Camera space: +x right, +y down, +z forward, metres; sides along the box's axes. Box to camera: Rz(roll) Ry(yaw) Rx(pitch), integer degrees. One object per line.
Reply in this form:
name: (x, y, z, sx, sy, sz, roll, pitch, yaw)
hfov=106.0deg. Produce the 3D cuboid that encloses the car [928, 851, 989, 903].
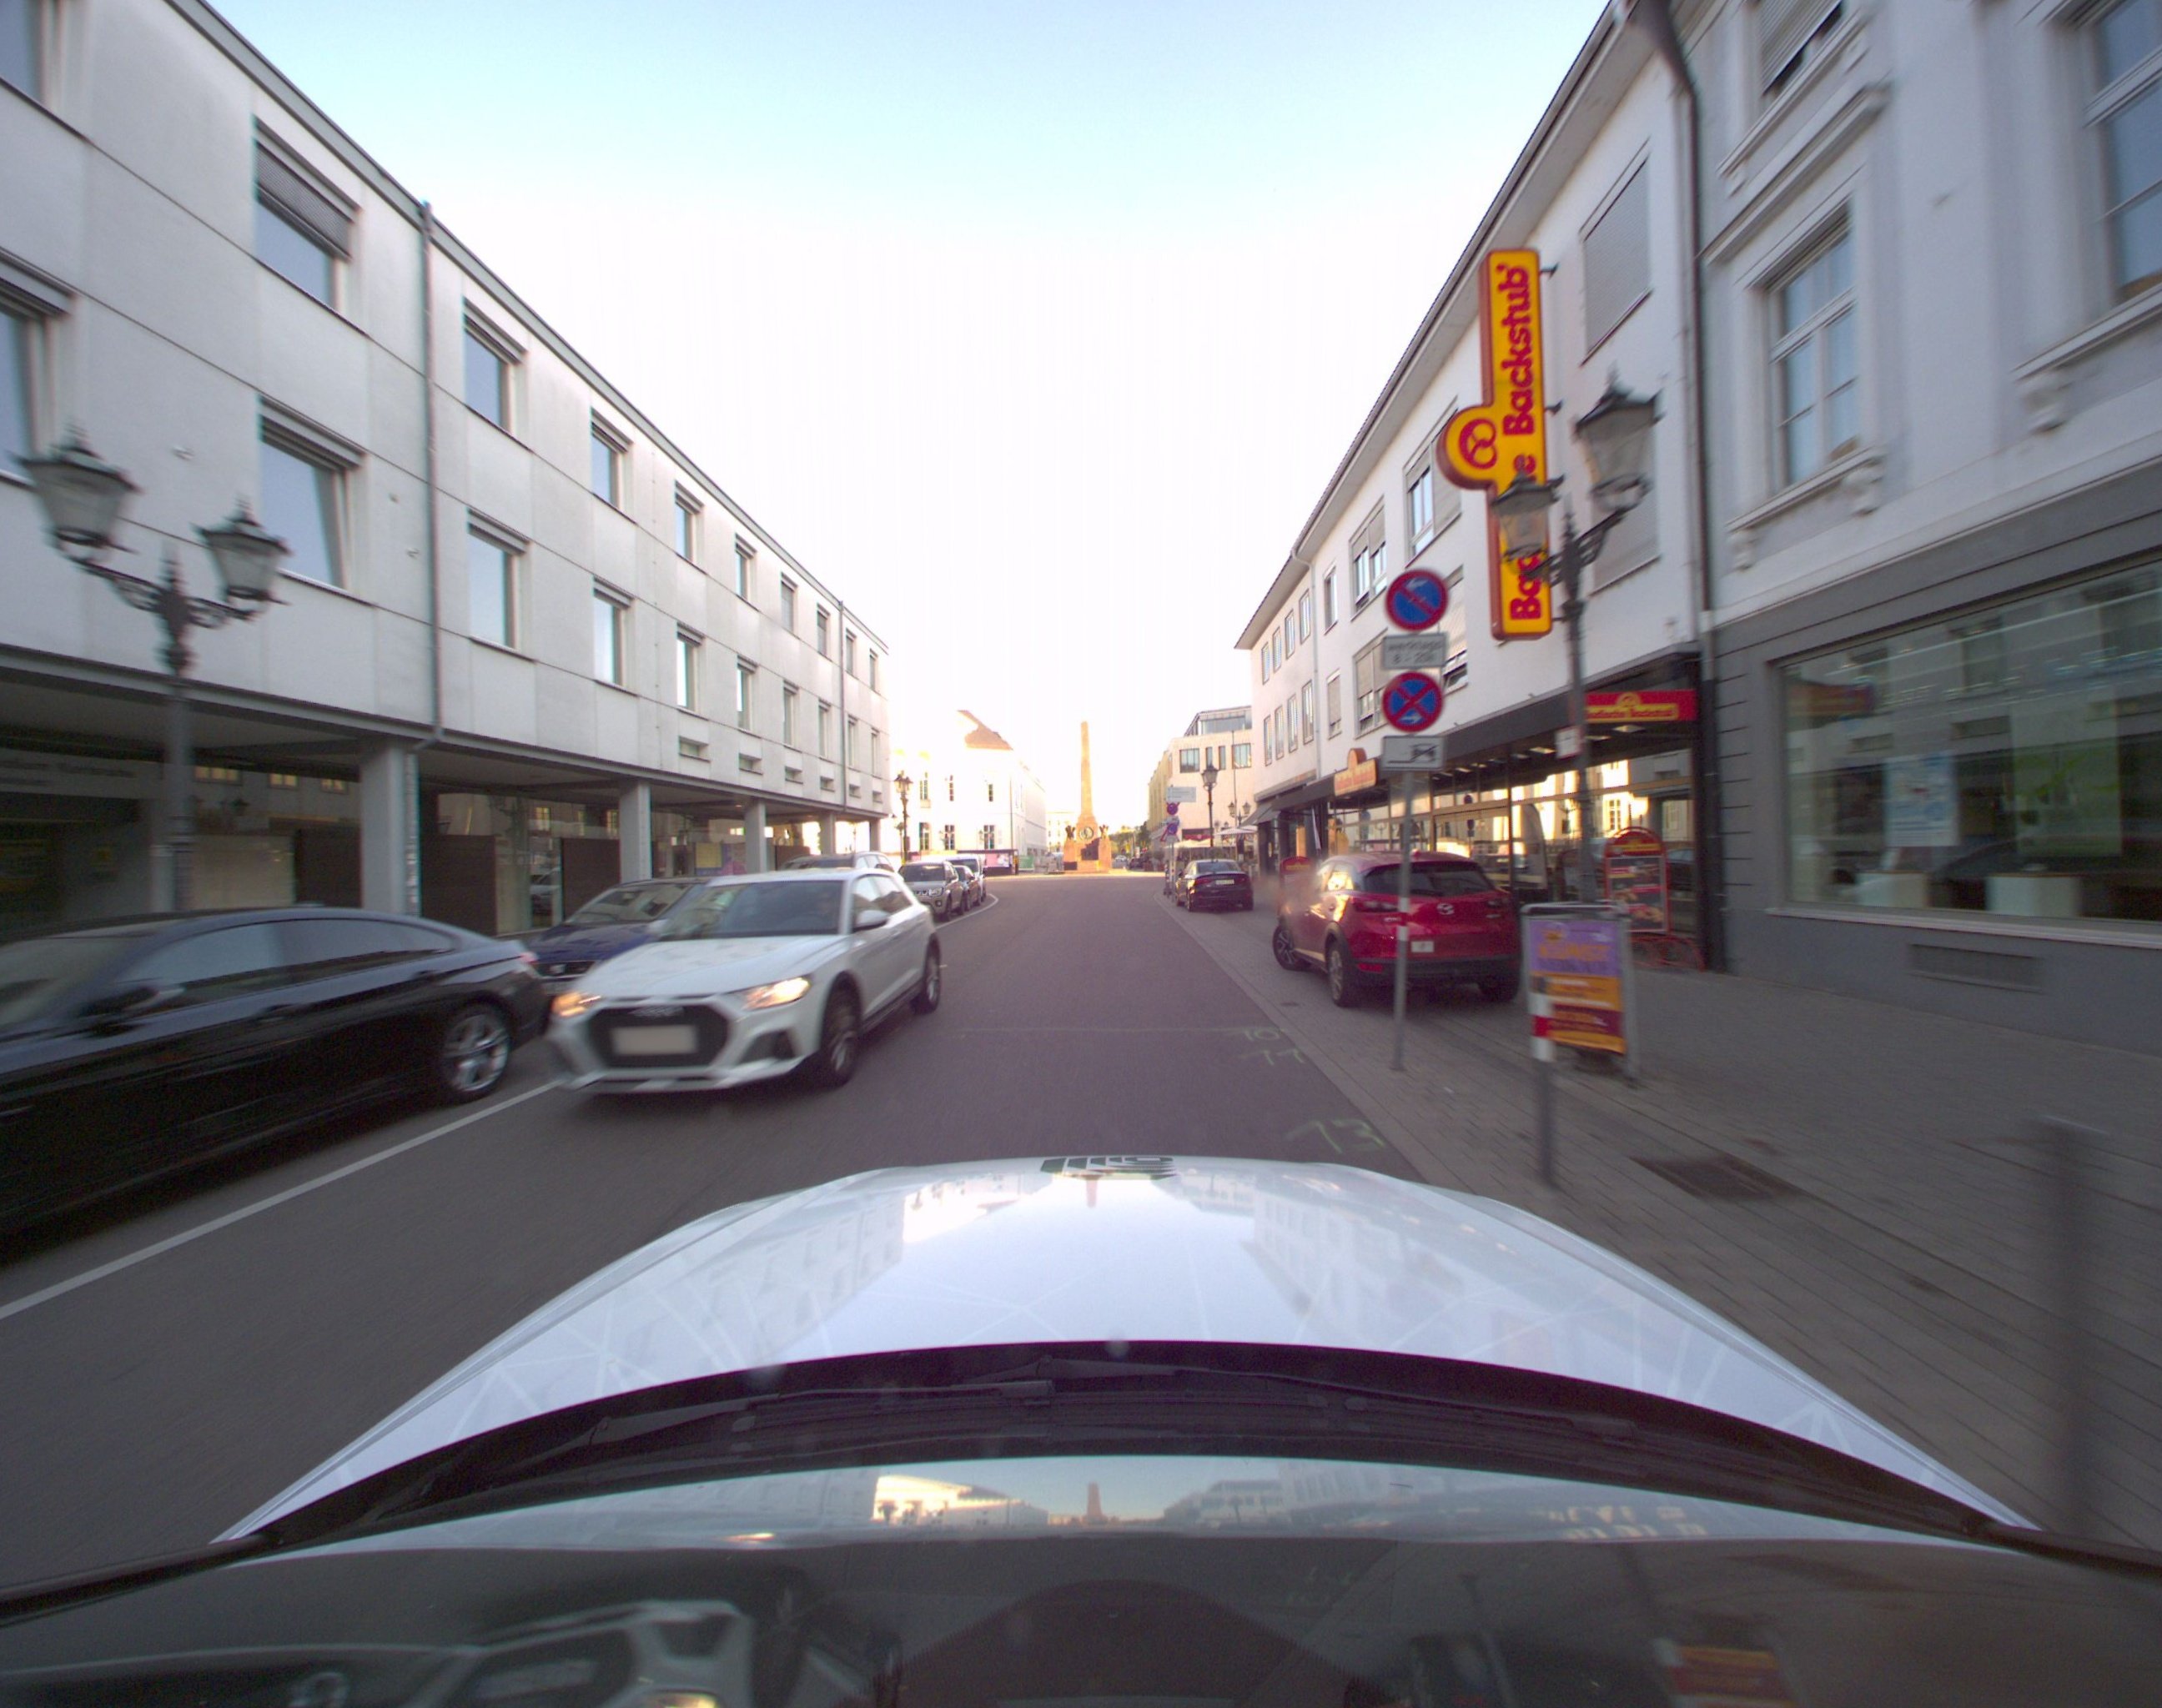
car: (-4.636, 0.818, 31.439, 1.990, 1.816, 4.776, -1, 0, -5)

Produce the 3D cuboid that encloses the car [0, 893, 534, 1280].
car: (-5.143, 1.031, 4.003, 1.986, 1.354, 4.003, -4, 0, 3)

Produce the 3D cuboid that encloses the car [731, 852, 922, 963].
car: (-4.631, 0.880, 15.643, 1.985, 1.728, 4.519, -3, 0, 3)

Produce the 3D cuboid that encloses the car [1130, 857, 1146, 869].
car: (7.271, 1.190, 104.666, 1.985, 1.464, 4.004, -2, 0, 4)

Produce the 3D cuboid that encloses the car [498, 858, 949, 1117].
car: (-2.414, 0.790, 6.742, 1.757, 1.422, 4.003, -3, 0, 3)

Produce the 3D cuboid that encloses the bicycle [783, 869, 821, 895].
bicycle: (-11.587, 1.150, 33.946, 0.730, 0.983, 2.336, -1, 0, 1)

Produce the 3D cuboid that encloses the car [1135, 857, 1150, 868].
car: (8.552, 1.161, 113.108, 1.985, 1.464, 4.004, -2, 0, 4)

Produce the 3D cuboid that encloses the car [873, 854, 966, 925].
car: (-4.191, 0.863, 21.726, 1.991, 1.662, 3.992, -1, 0, -6)

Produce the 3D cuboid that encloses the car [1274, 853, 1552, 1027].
car: (3.423, 0.779, 9.172, 1.752, 1.523, 3.680, -1, 0, 3)

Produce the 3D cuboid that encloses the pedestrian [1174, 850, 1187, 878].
pedestrian: (6.067, 0.604, 49.686, 0.687, 1.647, 0.696, -2, 0, 1)

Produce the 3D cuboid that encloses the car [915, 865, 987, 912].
car: (-4.163, 1.069, 26.557, 1.672, 1.353, 4.104, -1, 0, 0)

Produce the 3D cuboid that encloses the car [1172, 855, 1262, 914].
car: (3.770, 0.790, 23.184, 1.796, 1.464, 4.115, -2, 0, -1)

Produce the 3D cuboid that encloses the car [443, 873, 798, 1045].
car: (-4.863, 0.997, 9.365, 1.667, 1.400, 4.001, -2, 0, 1)
